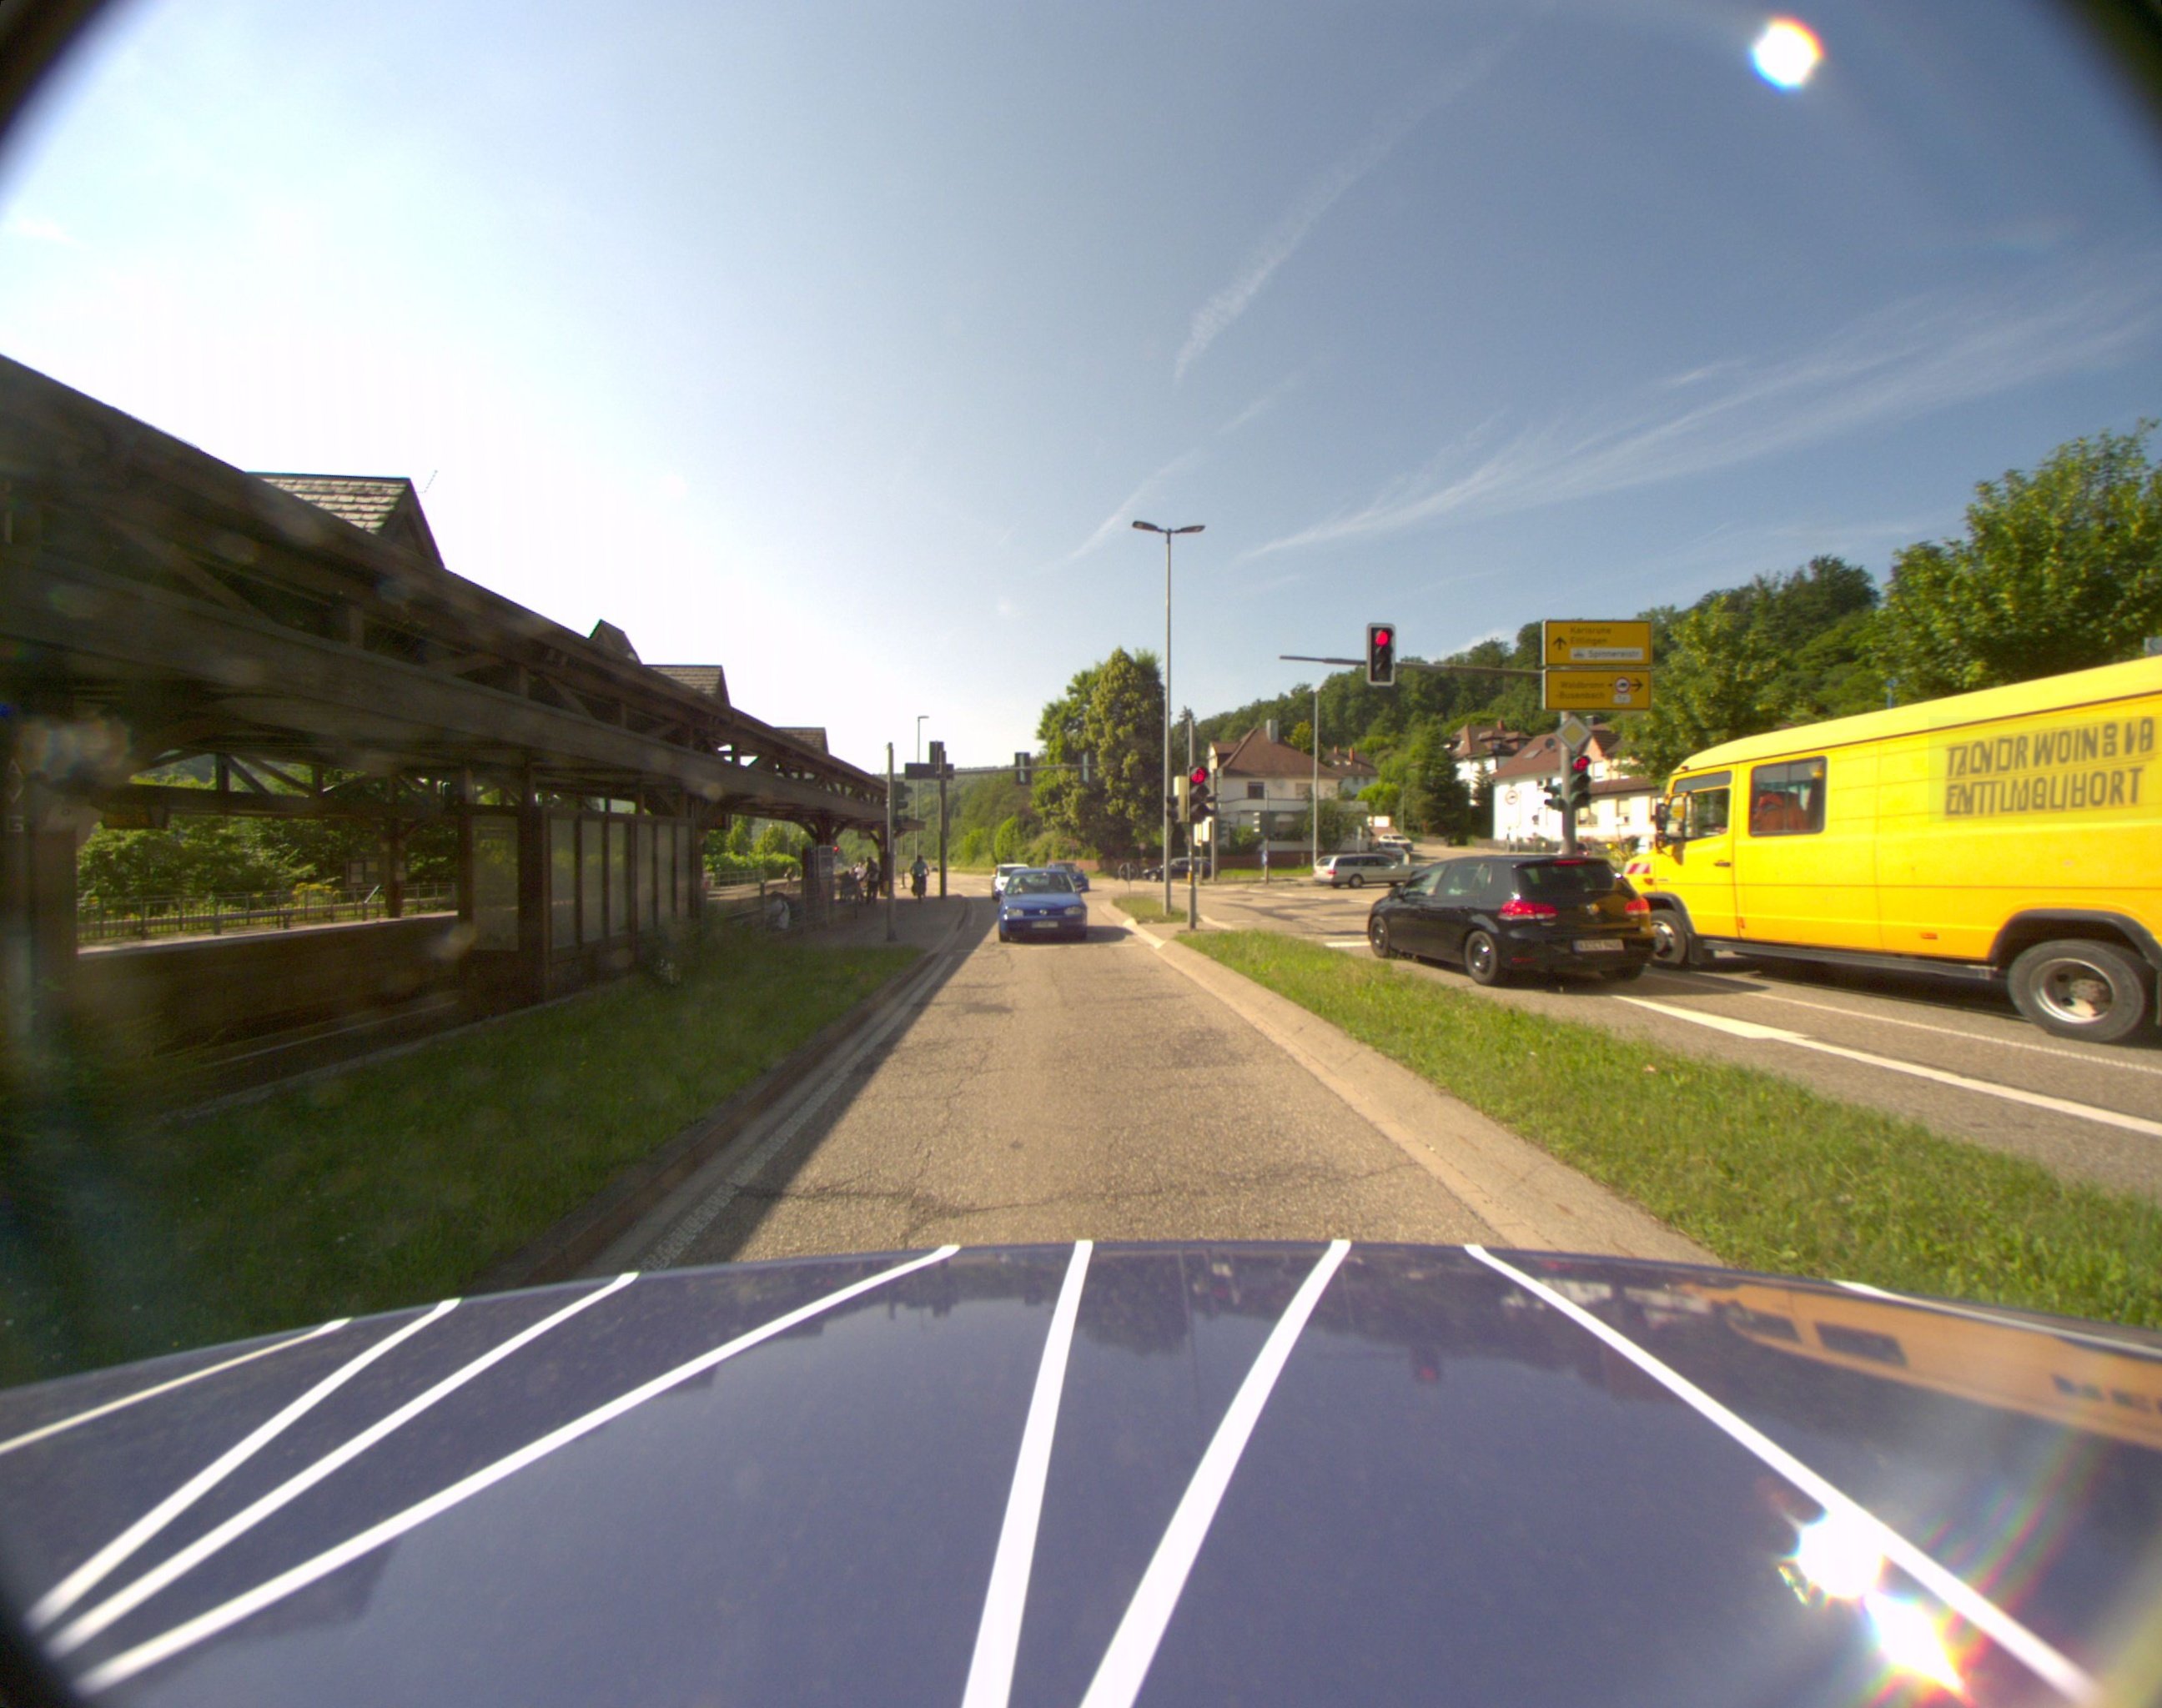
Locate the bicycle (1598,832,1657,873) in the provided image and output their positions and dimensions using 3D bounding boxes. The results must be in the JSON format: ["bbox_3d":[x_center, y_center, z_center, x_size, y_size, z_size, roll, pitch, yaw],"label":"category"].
[{"bbox_3d":[18.302,-0.026,25.506,0.620,1.247,1.758,-6,-2,2],"label":"bicycle"}]

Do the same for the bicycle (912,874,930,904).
[{"bbox_3d":[-6.183,1.344,29.379,0.604,1.049,1.812,-3,0,-11],"label":"bicycle"}]

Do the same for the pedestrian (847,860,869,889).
[{"bbox_3d":[-13.591,1.254,46.304,0.902,1.674,0.823,-3,-1,21],"label":"pedestrian"}]

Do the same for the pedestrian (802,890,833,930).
[{"bbox_3d":[-6.552,1.387,18.921,0.619,0.960,0.406,-3,-1,-7],"label":"pedestrian"}]

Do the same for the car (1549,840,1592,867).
[{"bbox_3d":[29.103,-0.032,45.278,1.658,1.525,3.962,-2,-1,25],"label":"car"}]

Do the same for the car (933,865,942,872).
[{"bbox_3d":[-36.738,3.673,194.114,2.000,1.739,3.998,-3,-1,-9],"label":"car"}]

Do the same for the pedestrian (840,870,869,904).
[{"bbox_3d":[-8.719,1.255,29.259,0.994,1.228,0.596,-3,-1,-14],"label":"pedestrian"}]

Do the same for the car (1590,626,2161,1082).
[{"bbox_3d":[8.229,-0.043,6.957,2.474,2.993,6.464,-3,0,-3],"label":"car"}]

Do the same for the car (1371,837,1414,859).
[{"bbox_3d":[25.836,-0.492,63.130,1.939,1.627,4.001,-3,-1,2],"label":"car"}]

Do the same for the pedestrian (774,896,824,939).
[{"bbox_3d":[-6.389,1.436,17.260,0.847,0.869,0.807,-3,-1,-7],"label":"pedestrian"}]

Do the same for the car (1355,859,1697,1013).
[{"bbox_3d":[5.107,0.819,9.466,1.750,1.454,4.042,-1,0,-3],"label":"car"}]

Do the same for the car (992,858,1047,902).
[{"bbox_3d":[-2.610,1.027,31.422,2.000,1.575,3.997,-3,0,-7],"label":"car"}]

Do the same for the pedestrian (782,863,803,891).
[{"bbox_3d":[-17.707,1.399,46.685,0.904,1.674,1.124,-3,-1,-10],"label":"pedestrian"}]

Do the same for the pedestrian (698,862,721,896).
[{"bbox_3d":[-20.936,1.392,42.871,0.904,1.838,0.822,-3,-1,-11],"label":"pedestrian"}]

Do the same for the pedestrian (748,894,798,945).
[{"bbox_3d":[-6.421,1.361,15.893,0.744,0.976,0.769,-3,-1,-7],"label":"pedestrian"}]

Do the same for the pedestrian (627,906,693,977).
[{"bbox_3d":[-7.214,1.490,13.054,0.744,1.110,0.667,-3,-1,-7],"label":"pedestrian"}]

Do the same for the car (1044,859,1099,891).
[{"bbox_3d":[-0.554,1.039,39.556,1.982,1.495,3.981,-1,0,-14],"label":"car"}]

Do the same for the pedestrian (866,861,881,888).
[{"bbox_3d":[-12.952,1.291,47.521,0.685,1.674,0.558,-3,-1,-33],"label":"pedestrian"}]

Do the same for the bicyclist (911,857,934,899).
[{"bbox_3d":[-6.111,0.913,29.362,0.787,1.559,0.946,-3,1,-11],"label":"bicyclist"}]

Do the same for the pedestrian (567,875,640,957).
[{"bbox_3d":[-9.346,1.196,14.914,0.863,1.538,0.922,-1,-1,-5],"label":"pedestrian"}]

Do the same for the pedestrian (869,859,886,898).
[{"bbox_3d":[-8.880,1.072,33.135,0.659,1.682,0.738,-1,0,-13],"label":"pedestrian"}]

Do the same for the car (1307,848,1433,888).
[{"bbox_3d":[12.417,0.608,32.768,4.752,1.495,1.979,-2,-1,-13],"label":"car"}]

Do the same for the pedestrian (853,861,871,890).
[{"bbox_3d":[-13.011,1.271,45.198,0.823,1.674,0.902,-3,-1,-24],"label":"pedestrian"}]

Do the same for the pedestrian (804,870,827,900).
[{"bbox_3d":[-16.299,1.900,46.646,0.989,1.831,1.074,-2,-1,2],"label":"pedestrian"}]

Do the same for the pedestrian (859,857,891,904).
[{"bbox_3d":[-7.879,1.013,29.067,0.916,1.726,1.251,-3,-1,-6],"label":"pedestrian"}]

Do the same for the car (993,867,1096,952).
[{"bbox_3d":[-0.821,1.062,16.157,1.866,1.474,4.300,-1,0,-4],"label":"car"}]

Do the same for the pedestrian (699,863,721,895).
[{"bbox_3d":[-22.002,1.489,45.041,0.904,1.838,0.822,-3,-1,-11],"label":"pedestrian"}]

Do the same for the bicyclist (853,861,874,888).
[{"bbox_3d":[-14.099,1.348,49.302,0.901,1.674,0.824,-3,-1,36],"label":"bicyclist"}]

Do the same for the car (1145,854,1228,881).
[{"bbox_3d":[6.669,0.841,48.076,4.740,1.475,1.984,-3,-1,24],"label":"car"}]

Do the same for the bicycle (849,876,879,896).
[{"bbox_3d":[-14.099,2.094,49.337,2.015,1.201,0.711,-4,-1,37],"label":"bicycle"}]

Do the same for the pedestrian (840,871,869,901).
[{"bbox_3d":[-9.076,1.268,30.443,1.010,1.153,0.947,-2,1,-13],"label":"pedestrian"}]

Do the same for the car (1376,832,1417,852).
[{"bbox_3d":[29.564,-1.095,71.279,1.999,1.597,4.000,-3,-1,-2],"label":"car"}]
